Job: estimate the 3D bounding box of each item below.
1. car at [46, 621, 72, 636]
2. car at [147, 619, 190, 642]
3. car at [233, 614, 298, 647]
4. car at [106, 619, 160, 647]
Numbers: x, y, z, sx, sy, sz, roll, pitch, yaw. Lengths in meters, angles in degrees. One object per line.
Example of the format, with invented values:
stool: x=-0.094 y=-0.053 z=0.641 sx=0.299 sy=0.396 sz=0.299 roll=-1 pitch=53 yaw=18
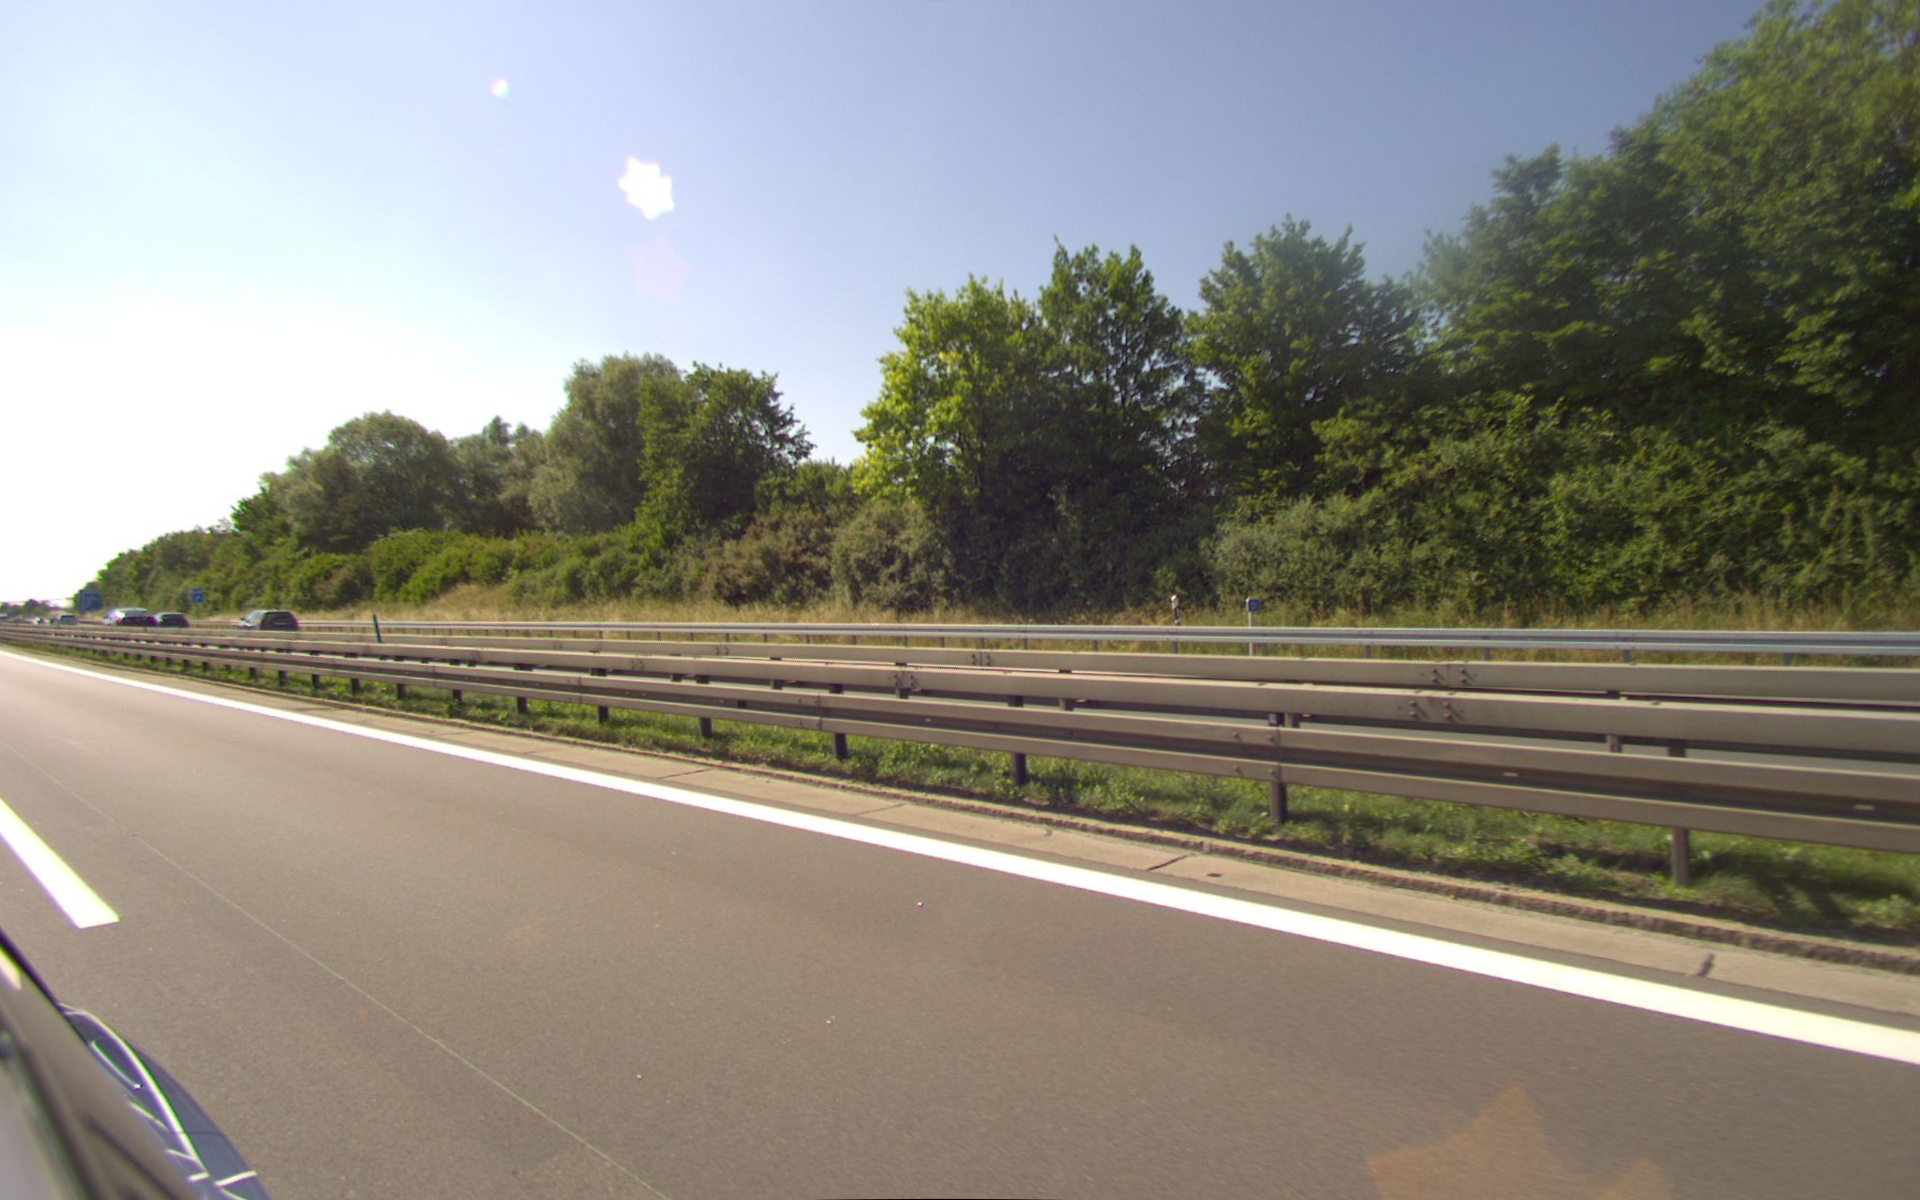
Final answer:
car: x=-103.272 y=3.235 z=115.984 sx=4.579 sy=1.576 sz=1.733 roll=-2 pitch=1 yaw=42
car: x=-52.839 y=2.036 z=67.525 sx=4.151 sy=1.473 sz=1.561 roll=-1 pitch=0 yaw=42
car: x=-33.216 y=1.445 z=48.396 sx=3.998 sy=1.433 sz=1.645 roll=-1 pitch=0 yaw=42
car: x=-44.430 y=1.744 z=54.350 sx=3.998 sy=1.433 sz=1.645 roll=-1 pitch=0 yaw=42
